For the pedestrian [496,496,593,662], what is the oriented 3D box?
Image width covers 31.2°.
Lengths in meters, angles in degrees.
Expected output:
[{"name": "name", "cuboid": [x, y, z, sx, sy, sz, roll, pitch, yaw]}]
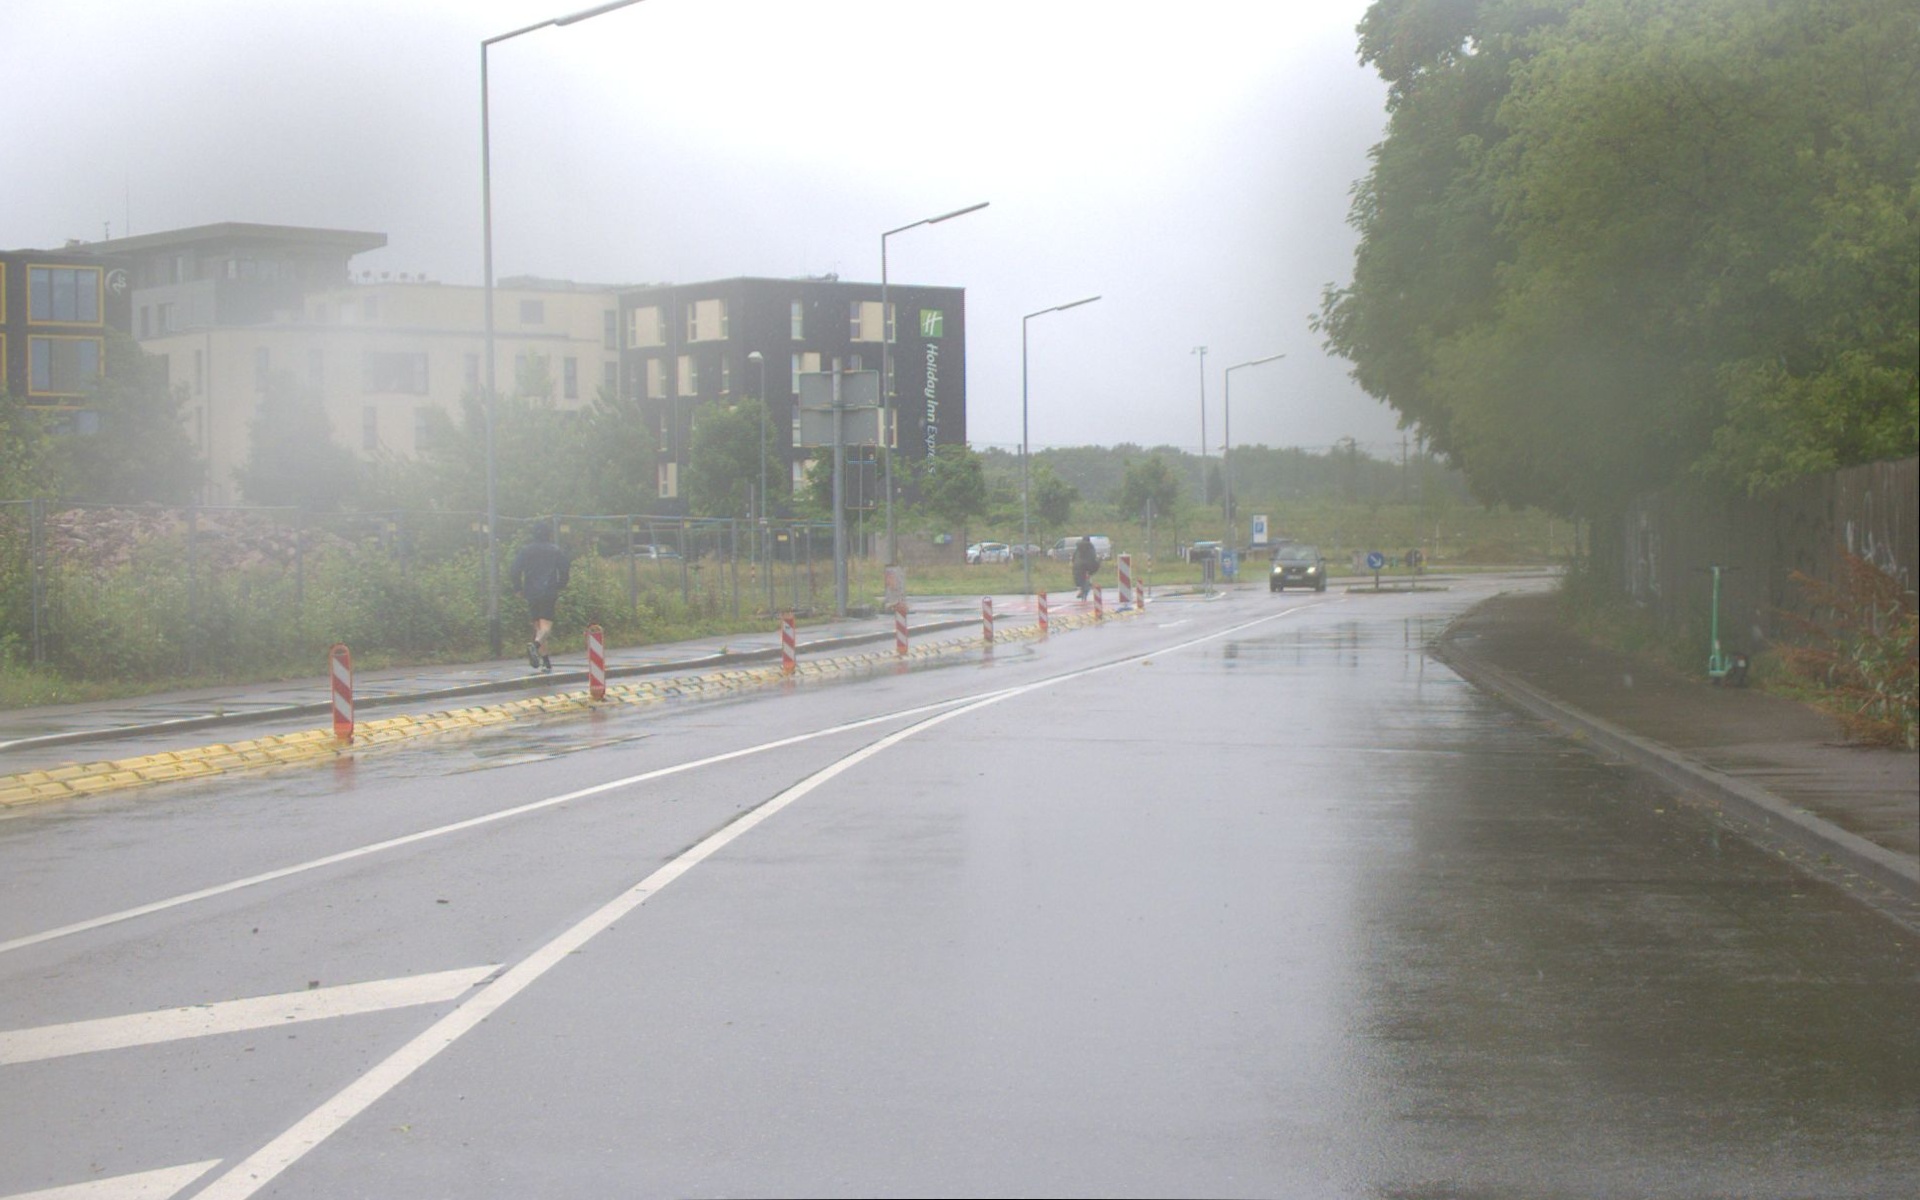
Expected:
[{"name": "pedestrian", "cuboid": [-5.105, -0.247, 42.312, 0.846, 2.007, 1.131, 0, -1, 13]}]

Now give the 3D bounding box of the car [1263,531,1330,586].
[{"name": "car", "cuboid": [11.189, -1.381, 114.115, 1.994, 1.766, 3.999, 0, 1, 9]}]

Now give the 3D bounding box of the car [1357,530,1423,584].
[{"name": "car", "cuboid": [15.127, -1.503, 120.883, 1.994, 1.766, 3.998, 0, -1, 12]}]

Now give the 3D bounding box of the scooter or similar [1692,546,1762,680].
[{"name": "scooter or similar", "cuboid": [7.200, 0.115, 32.318, 0.491, 1.230, 1.370, 0, 1, 6]}]

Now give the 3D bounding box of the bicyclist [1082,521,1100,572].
[{"name": "bicyclist", "cuboid": [3.653, -1.503, 95.865, 0.444, 1.399, 0.550, 0, -1, 6]}]

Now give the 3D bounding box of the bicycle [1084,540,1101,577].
[{"name": "bicycle", "cuboid": [3.693, -1.158, 95.735, 0.427, 1.016, 1.612, 0, 1, 4]}]
